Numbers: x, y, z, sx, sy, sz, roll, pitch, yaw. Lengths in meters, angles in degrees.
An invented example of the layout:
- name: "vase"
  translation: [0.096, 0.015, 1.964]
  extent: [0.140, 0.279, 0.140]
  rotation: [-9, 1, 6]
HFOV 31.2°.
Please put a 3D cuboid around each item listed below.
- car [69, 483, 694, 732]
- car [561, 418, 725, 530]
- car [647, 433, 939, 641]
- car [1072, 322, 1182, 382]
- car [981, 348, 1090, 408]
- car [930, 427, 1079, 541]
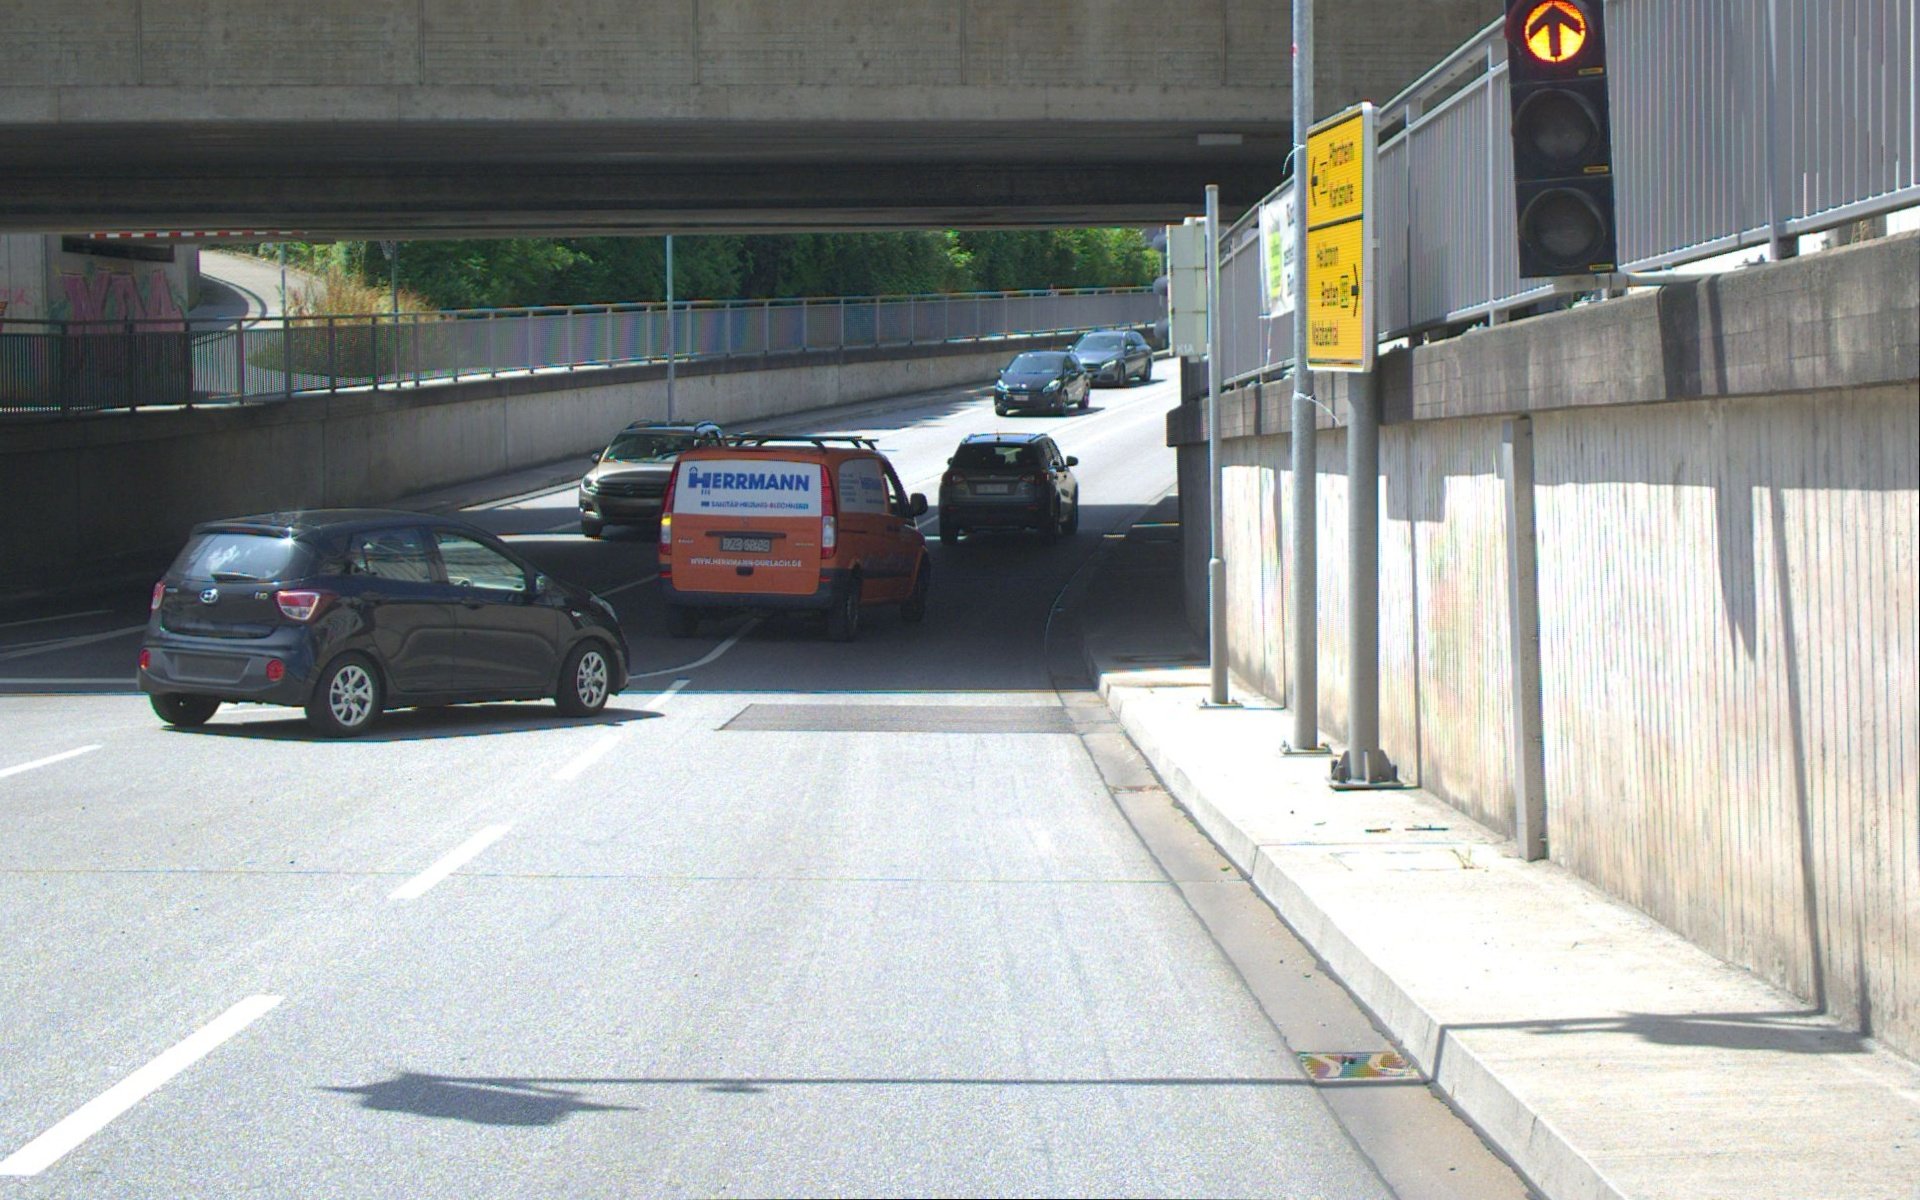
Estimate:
- name: "car"
  translation: [-3.932, -0.025, 23.920]
  extent: [1.998, 1.502, 3.992]
  rotation: [2, 4, 37]
- name: "car"
  translation: [-4.786, -1.955, 52.426]
  extent: [1.993, 1.621, 4.001]
  rotation: [0, 3, 2]
- name: "car"
  translation: [-1.623, -0.721, 35.300]
  extent: [1.873, 1.925, 4.718]
  rotation: [1, 3, 12]
- name: "car"
  translation: [4.613, -6.787, 94.443]
  extent: [1.995, 1.583, 3.997]
  rotation: [1, 4, 19]
- name: "car"
  translation: [1.866, -5.404, 83.959]
  extent: [1.783, 1.431, 3.998]
  rotation: [1, 3, 15]
- name: "car"
  translation: [0.706, -1.777, 51.718]
  extent: [1.804, 1.612, 4.000]
  rotation: [1, 3, 7]
